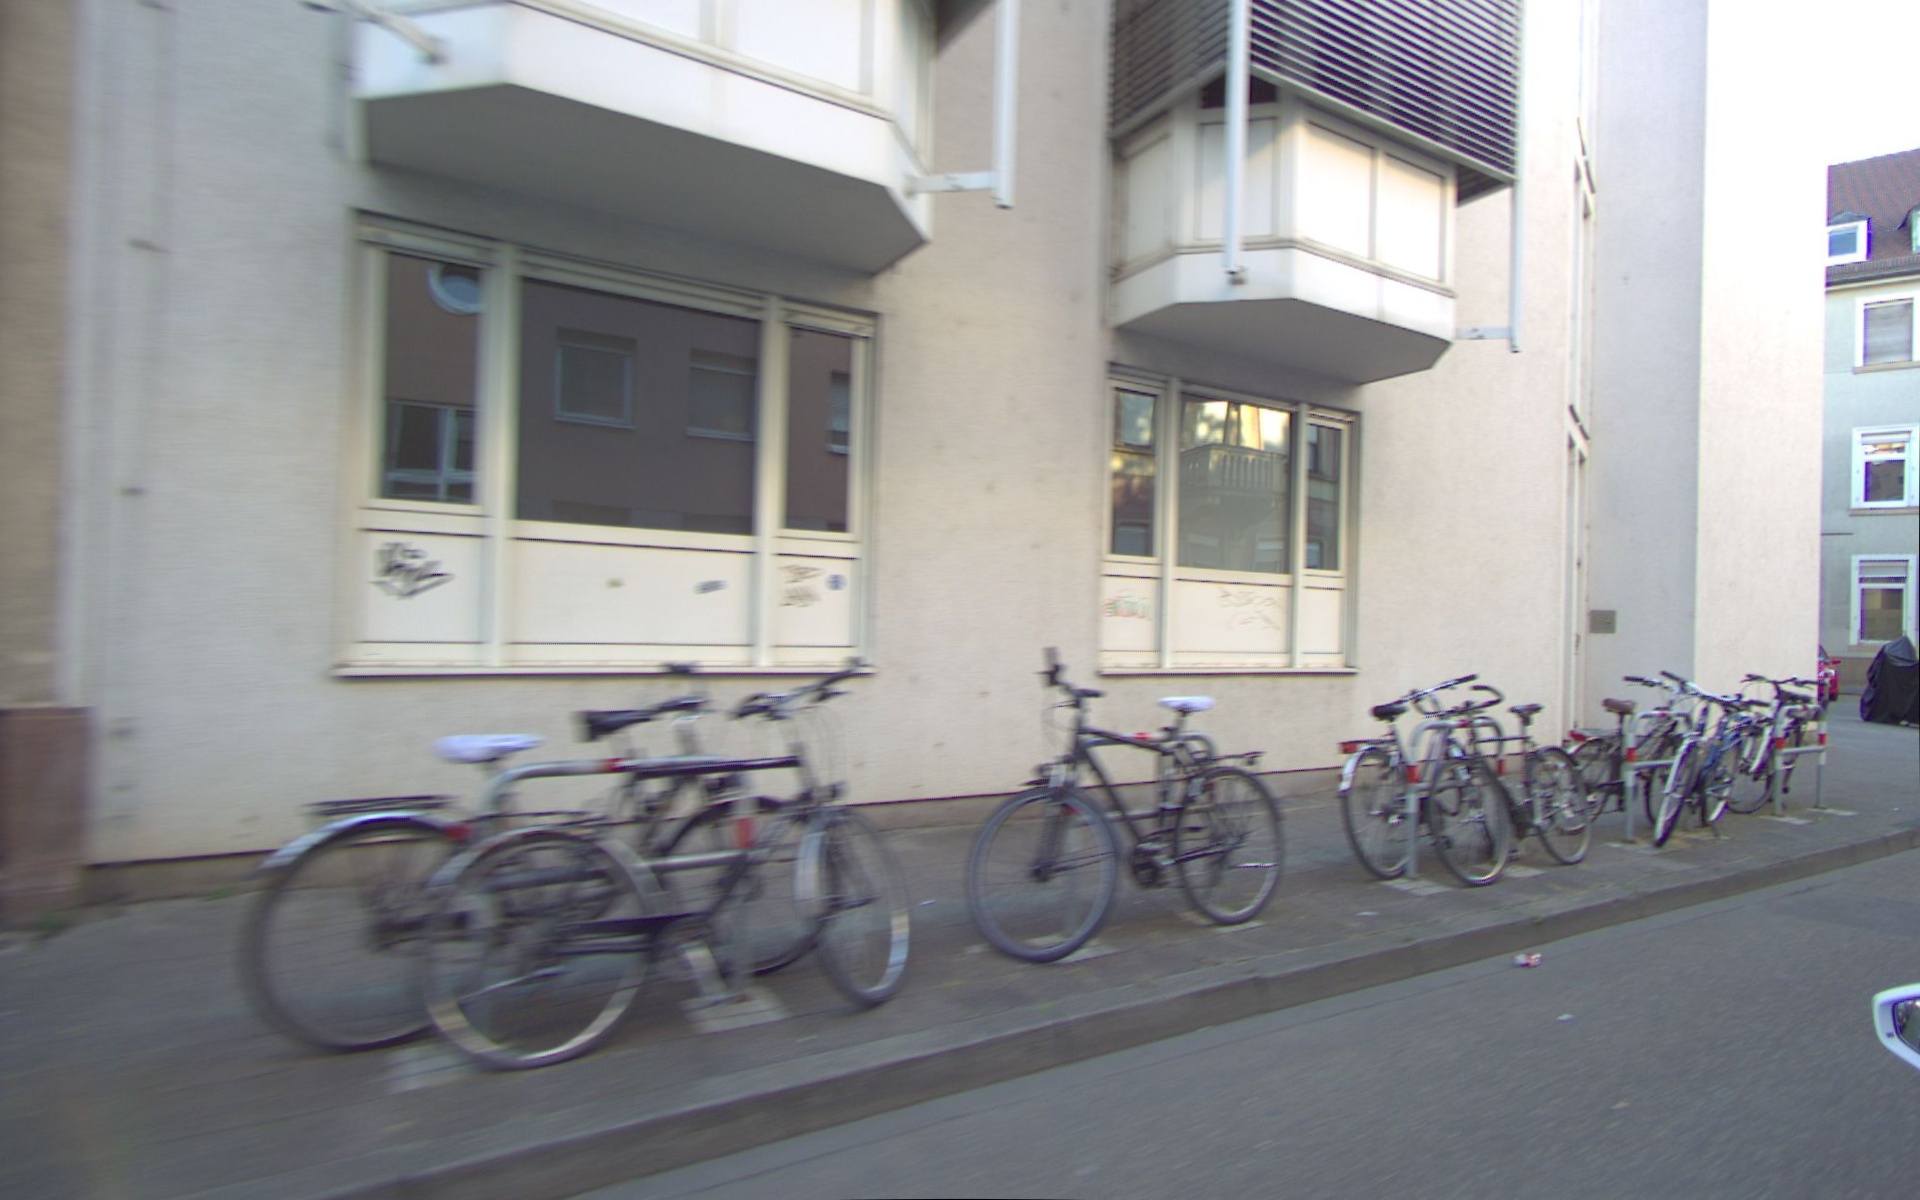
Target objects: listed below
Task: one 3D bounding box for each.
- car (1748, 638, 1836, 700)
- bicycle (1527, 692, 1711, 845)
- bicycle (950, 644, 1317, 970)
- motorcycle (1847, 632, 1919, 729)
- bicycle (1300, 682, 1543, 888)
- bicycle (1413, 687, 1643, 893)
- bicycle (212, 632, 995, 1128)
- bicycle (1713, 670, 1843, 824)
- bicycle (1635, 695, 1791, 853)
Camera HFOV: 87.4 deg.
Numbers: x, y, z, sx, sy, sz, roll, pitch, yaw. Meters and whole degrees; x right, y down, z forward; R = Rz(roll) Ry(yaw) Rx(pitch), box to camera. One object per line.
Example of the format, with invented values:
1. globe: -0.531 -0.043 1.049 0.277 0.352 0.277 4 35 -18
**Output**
1. car: 22.260 1.796 26.968 1.540 1.495 3.656 0 -1 35
2. bicycle: 4.696 1.146 7.111 1.791 0.944 0.305 2 -1 -30
3. bicycle: 0.824 0.830 4.439 1.791 1.239 0.305 2 -1 -30
4. motorcycle: 16.137 1.341 17.143 0.656 1.576 2.163 1 -1 17
5. bicycle: 2.767 1.035 5.942 1.791 1.056 0.305 2 -1 -30
6. bicycle: 3.406 1.067 5.960 1.791 1.056 0.305 2 -1 -30
7. bicycle: -1.002 0.735 3.300 2.238 1.203 0.593 2 -1 -30
8. bicycle: 6.776 1.160 8.295 1.796 1.117 0.397 2 -1 -37
9. bicycle: 5.327 1.175 7.066 1.794 0.944 0.305 2 -1 -34
